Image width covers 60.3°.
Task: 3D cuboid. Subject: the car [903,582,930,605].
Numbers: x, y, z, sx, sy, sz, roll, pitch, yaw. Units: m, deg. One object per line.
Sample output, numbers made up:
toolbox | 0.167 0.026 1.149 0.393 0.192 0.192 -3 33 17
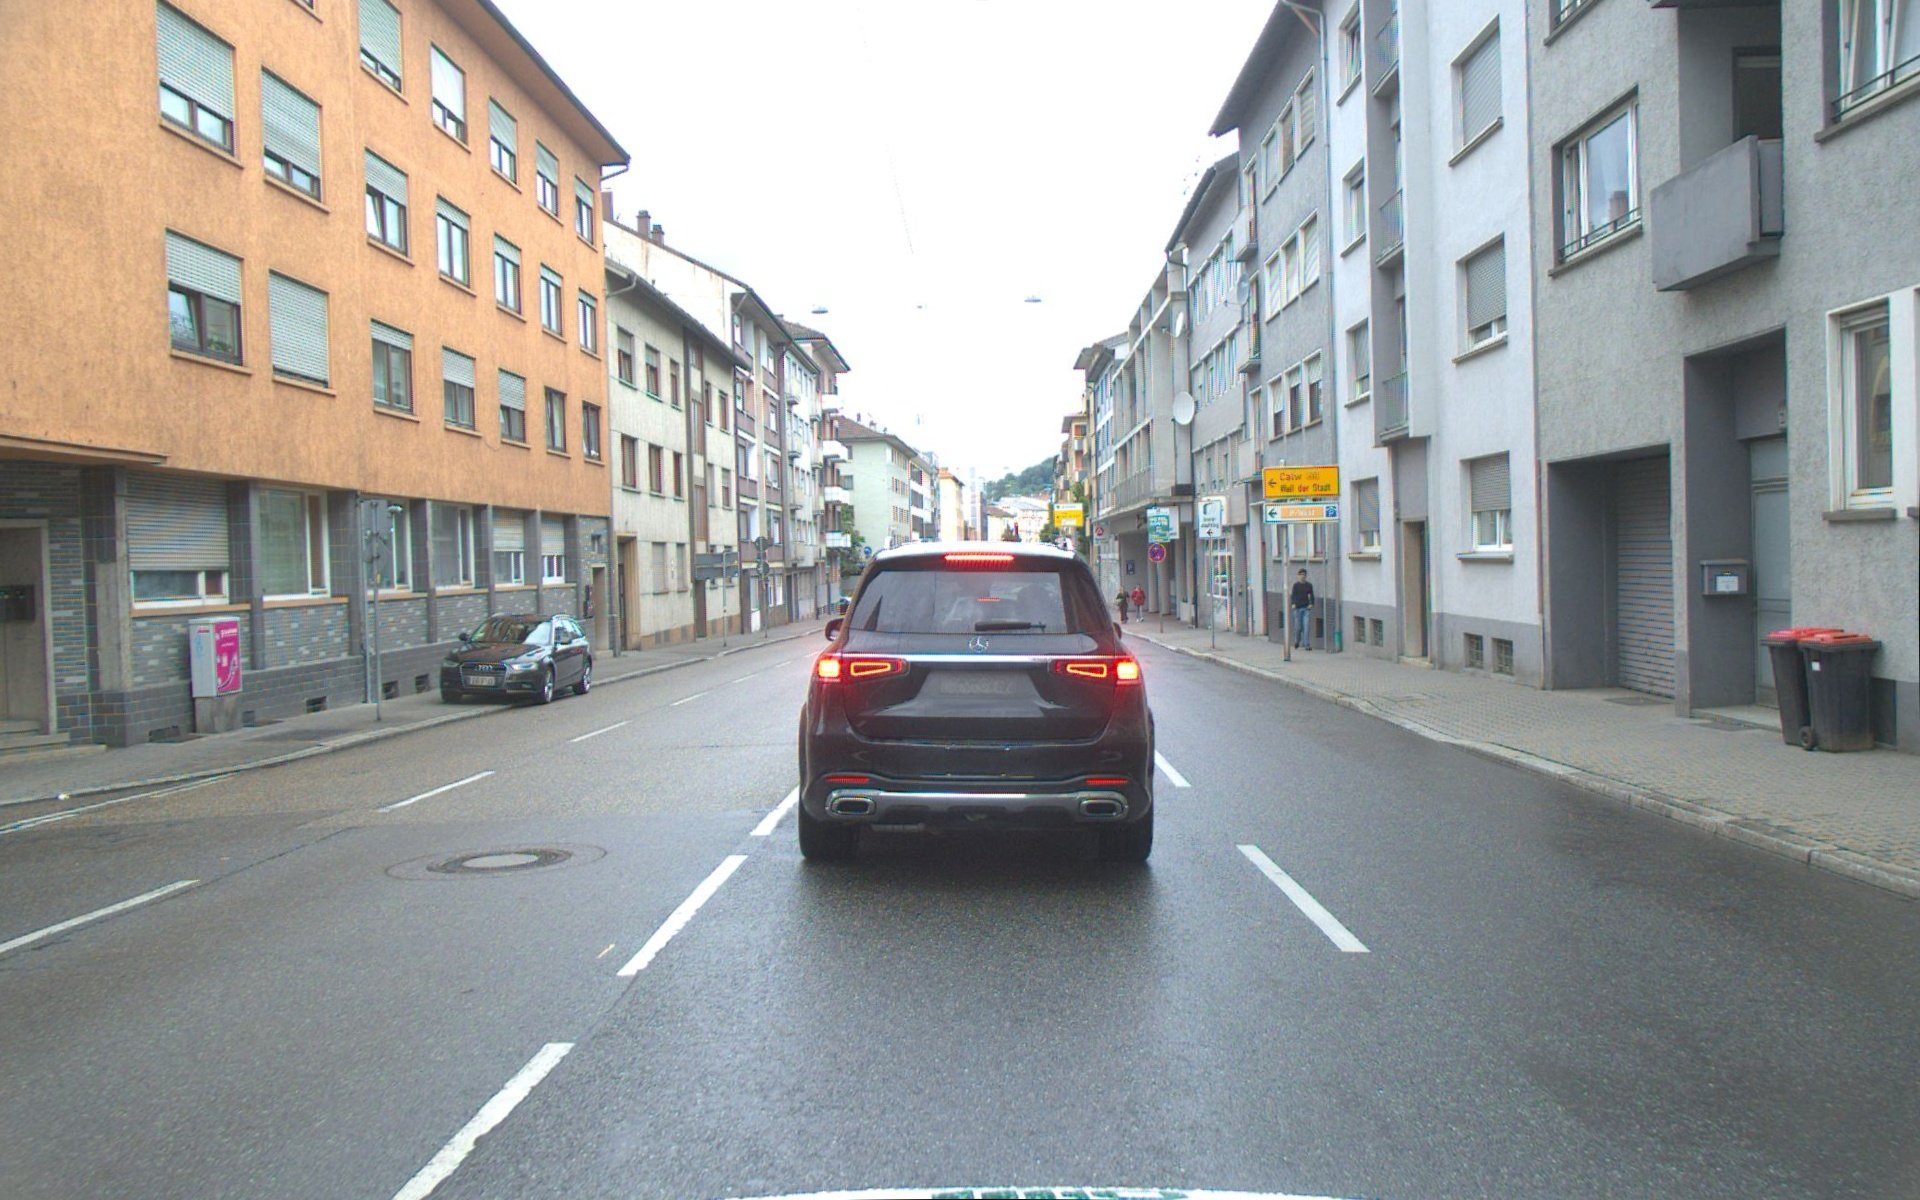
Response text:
car | -2.986 -0.469 114.567 1.852 1.484 4.549 0 1 -1

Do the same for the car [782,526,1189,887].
car | 0.123 0.489 10.602 2.034 1.796 4.611 0 1 0

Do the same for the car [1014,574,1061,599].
car | 6.588 -1.143 140.154 3.903 2.049 2.001 0 1 4

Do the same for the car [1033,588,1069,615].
car | 4.925 0.060 89.758 1.699 1.412 4.582 0 1 0

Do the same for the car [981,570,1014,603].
car | 2.379 -0.889 104.655 1.952 2.049 4.002 0 1 3

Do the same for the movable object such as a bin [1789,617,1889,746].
movable object such as a bin | 7.191 0.659 13.549 0.463 0.979 0.564 -5 0 2

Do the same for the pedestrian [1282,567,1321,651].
pedestrian | 7.469 0.193 36.207 0.642 1.782 0.742 -4 0 6

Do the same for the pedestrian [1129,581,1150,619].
pedestrian | 7.585 -0.016 69.887 0.803 1.592 0.900 0 1 4

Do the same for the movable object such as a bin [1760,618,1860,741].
movable object such as a bin | 7.241 0.671 14.103 0.551 0.979 0.474 -5 0 3

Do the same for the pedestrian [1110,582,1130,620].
pedestrian | 6.751 0.039 69.931 0.803 1.592 0.900 0 1 4

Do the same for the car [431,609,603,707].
car | -7.685 0.952 29.165 1.852 1.484 4.549 0 1 -1
